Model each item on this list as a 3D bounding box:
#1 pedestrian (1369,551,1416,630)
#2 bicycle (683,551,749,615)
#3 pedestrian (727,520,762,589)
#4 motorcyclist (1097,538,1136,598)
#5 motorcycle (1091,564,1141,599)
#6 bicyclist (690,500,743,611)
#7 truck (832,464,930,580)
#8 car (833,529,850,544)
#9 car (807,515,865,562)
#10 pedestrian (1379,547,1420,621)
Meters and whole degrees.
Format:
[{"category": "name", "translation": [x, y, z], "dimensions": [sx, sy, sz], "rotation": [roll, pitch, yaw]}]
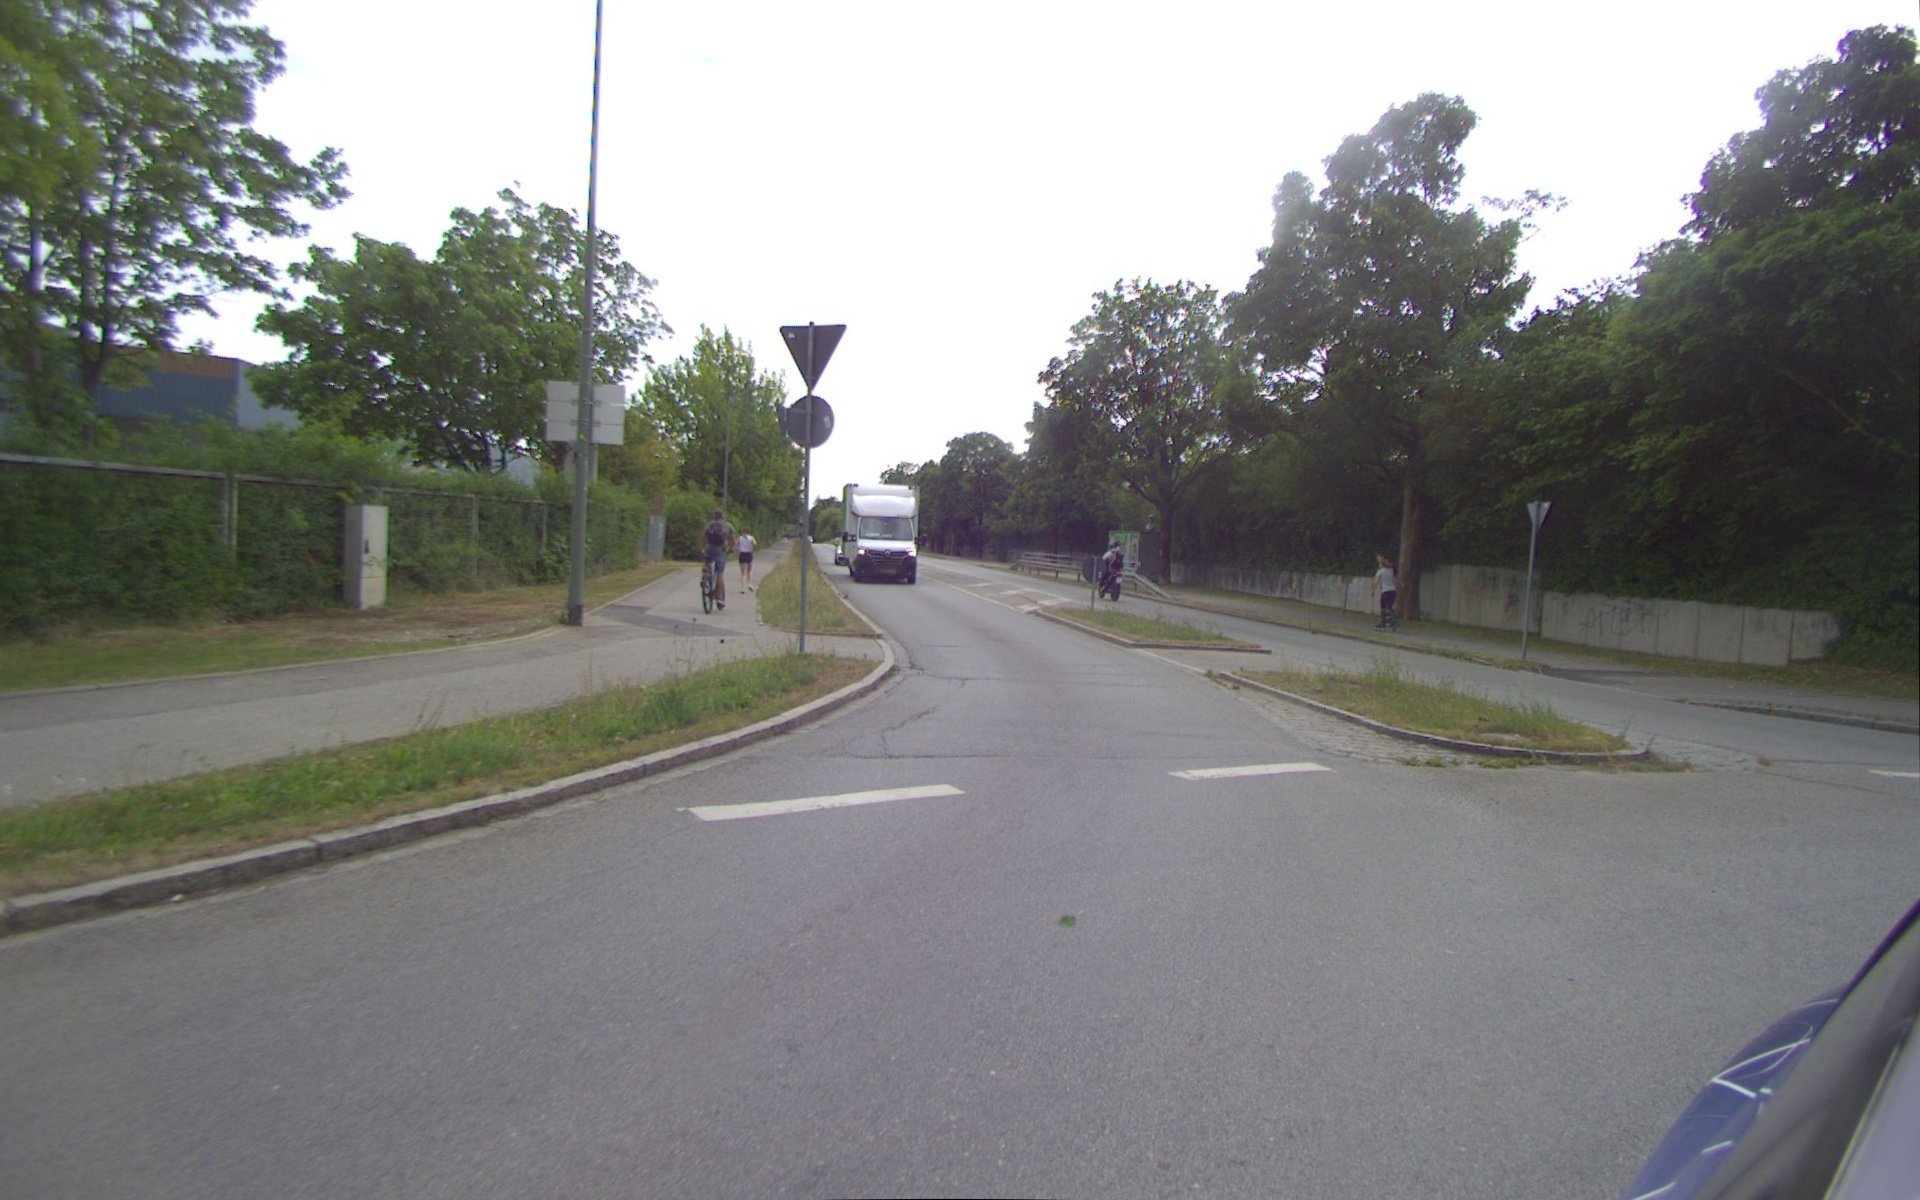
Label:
[{"category": "pedestrian", "translation": [10.109, -0.224, 23.677], "dimensions": [0.716, 1.802, 0.596], "rotation": [1, 2, -15]}, {"category": "bicycle", "translation": [-4.234, -0.323, 17.406], "dimensions": [0.946, 0.886, 2.503], "rotation": [5, 3, -16]}, {"category": "pedestrian", "translation": [-4.998, -1.050, 23.430], "dimensions": [0.534, 1.549, 0.846], "rotation": [2, 2, -26]}, {"category": "motorcyclist", "translation": [4.662, -0.968, 30.208], "dimensions": [0.828, 1.721, 0.825], "rotation": [2, 3, -11]}, {"category": "motorcycle", "translation": [4.643, -0.566, 30.196], "dimensions": [0.920, 0.942, 1.617], "rotation": [2, 3, -11]}, {"category": "bicyclist", "translation": [-4.174, -0.768, 17.313], "dimensions": [0.795, 1.809, 0.981], "rotation": [2, 3, -15]}, {"category": "truck", "translation": [-2.883, -2.623, 34.824], "dimensions": [2.562, 3.489, 7.525], "rotation": [1, 3, -10]}, {"category": "car", "translation": [-16.962, -9.093, 145.011], "dimensions": [1.996, 2.151, 5.737], "rotation": [1, 3, -10]}, {"category": "car", "translation": [-6.350, -3.128, 51.128], "dimensions": [2.562, 2.151, 5.737], "rotation": [1, 3, -10]}, {"category": "pedestrian", "translation": [11.027, -0.415, 25.395], "dimensions": [0.622, 1.831, 0.617], "rotation": [1, 2, -15]}]
